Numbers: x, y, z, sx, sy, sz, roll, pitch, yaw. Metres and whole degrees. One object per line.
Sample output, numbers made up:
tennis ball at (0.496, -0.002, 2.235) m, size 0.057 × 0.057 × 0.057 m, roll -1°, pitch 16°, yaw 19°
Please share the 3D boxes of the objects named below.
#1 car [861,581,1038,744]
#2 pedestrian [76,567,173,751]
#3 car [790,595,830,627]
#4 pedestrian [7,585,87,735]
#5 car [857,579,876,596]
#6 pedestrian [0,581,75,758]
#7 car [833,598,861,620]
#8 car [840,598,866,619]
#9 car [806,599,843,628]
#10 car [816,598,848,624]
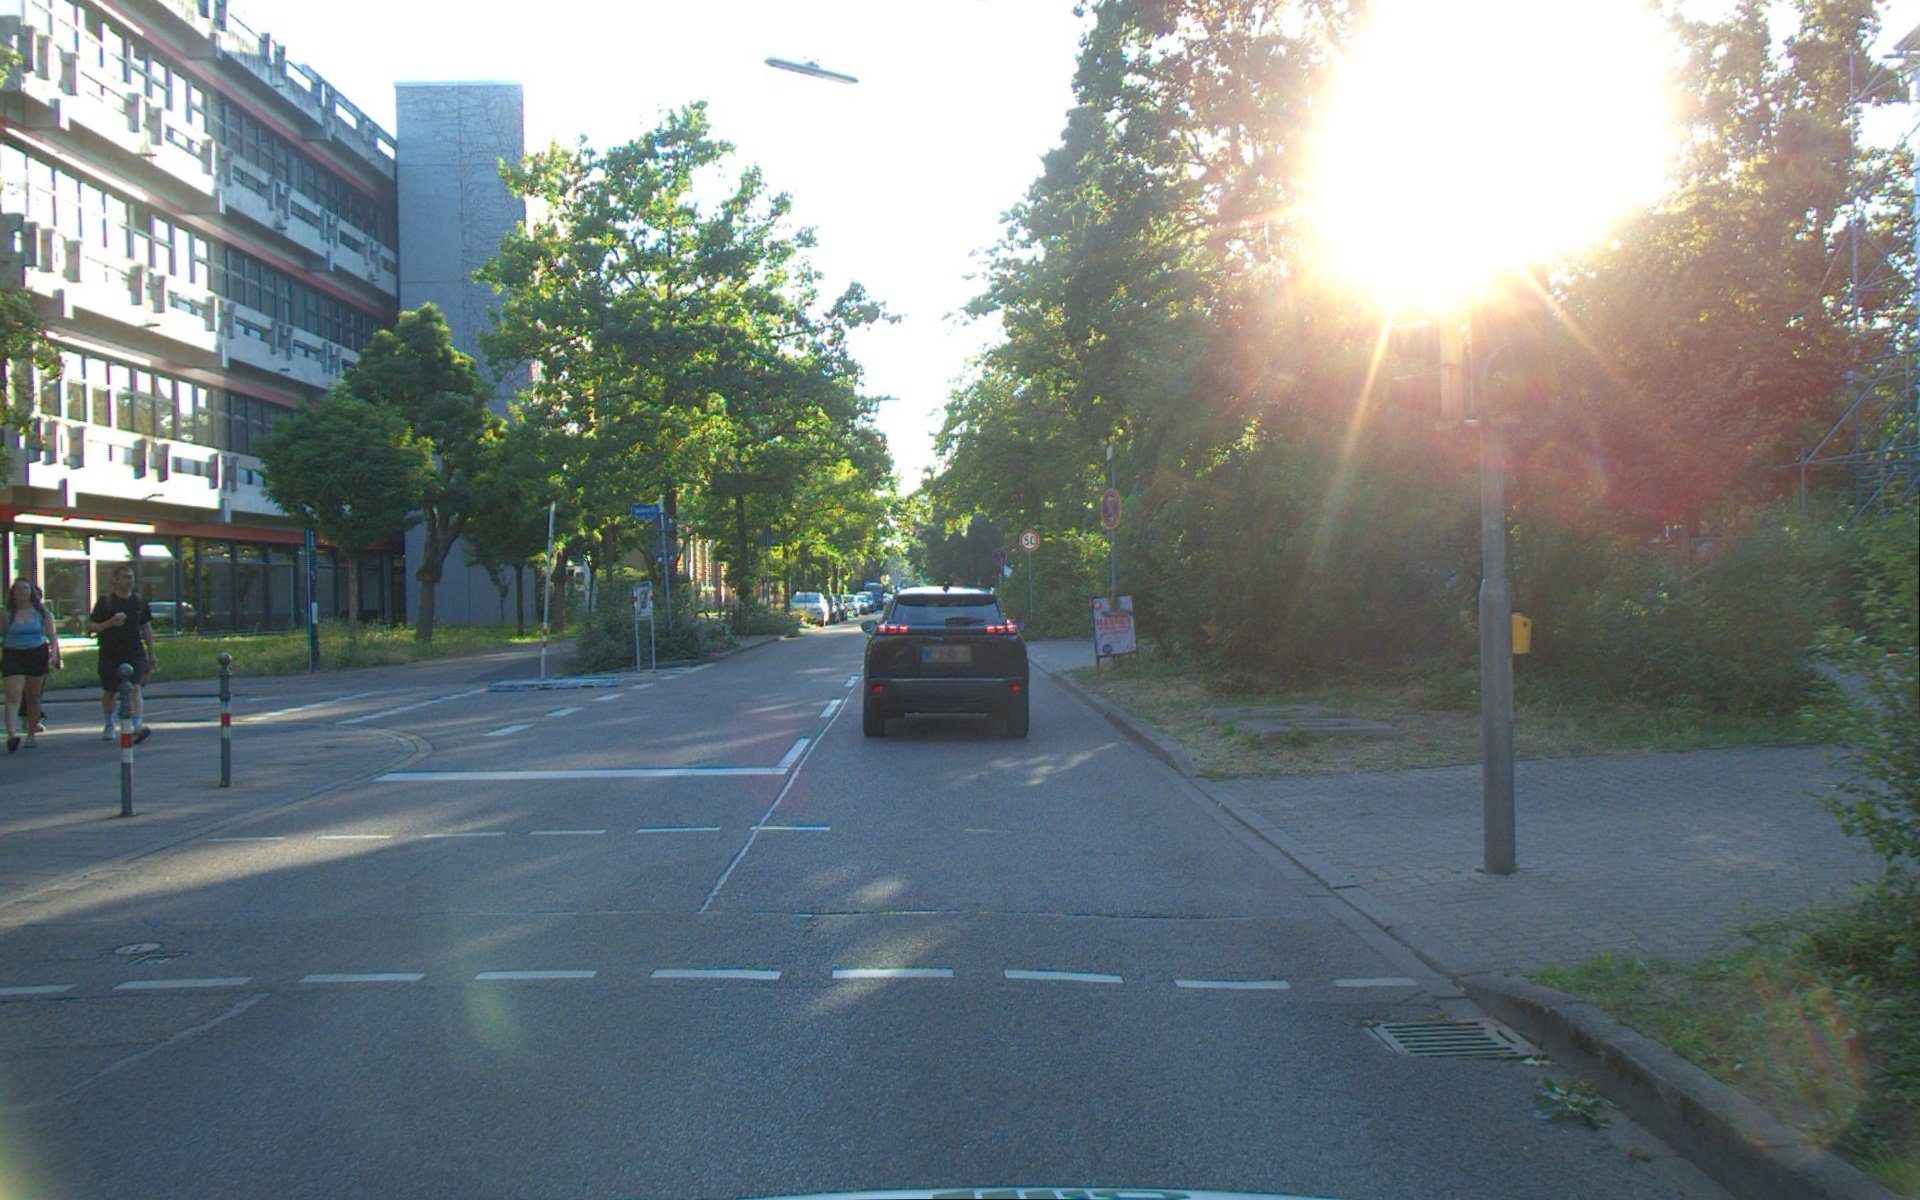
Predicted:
car at (-0.138, 0.617, 18.165) m, size 1.732 × 1.596 × 3.380 m, roll 1°, pitch 0°, yaw -1°
pedestrian at (-8.768, 0.594, 17.391) m, size 0.809 × 1.855 × 0.950 m, roll -2°, pitch 0°, yaw -25°
car at (-7.055, 0.507, 77.457) m, size 1.775 × 1.378 × 3.995 m, roll -2°, pitch 0°, yaw -6°
pedestrian at (-10.628, 0.682, 19.272) m, size 0.704 × 1.691 × 0.761 m, roll -2°, pitch 0°, yaw -25°
car at (-10.315, -1.385, 182.554) m, size 1.868 × 1.900 × 3.948 m, roll 0°, pitch 0°, yaw -1°
pedestrian at (-9.230, 0.667, 16.401) m, size 0.707 × 1.691 × 0.699 m, roll -2°, pitch 0°, yaw -33°
car at (-7.509, 0.586, 109.986) m, size 1.775 × 1.378 × 3.996 m, roll -2°, pitch 0°, yaw -5°
car at (-7.620, 0.570, 117.533) m, size 1.775 × 1.378 × 3.975 m, roll -2°, pitch 0°, yaw -5°
car at (-6.875, 0.650, 83.707) m, size 1.775 × 1.378 × 3.996 m, roll -2°, pitch 0°, yaw -5°
car at (-7.356, 0.615, 95.026) m, size 1.775 × 1.378 × 3.996 m, roll -2°, pitch 0°, yaw -5°
